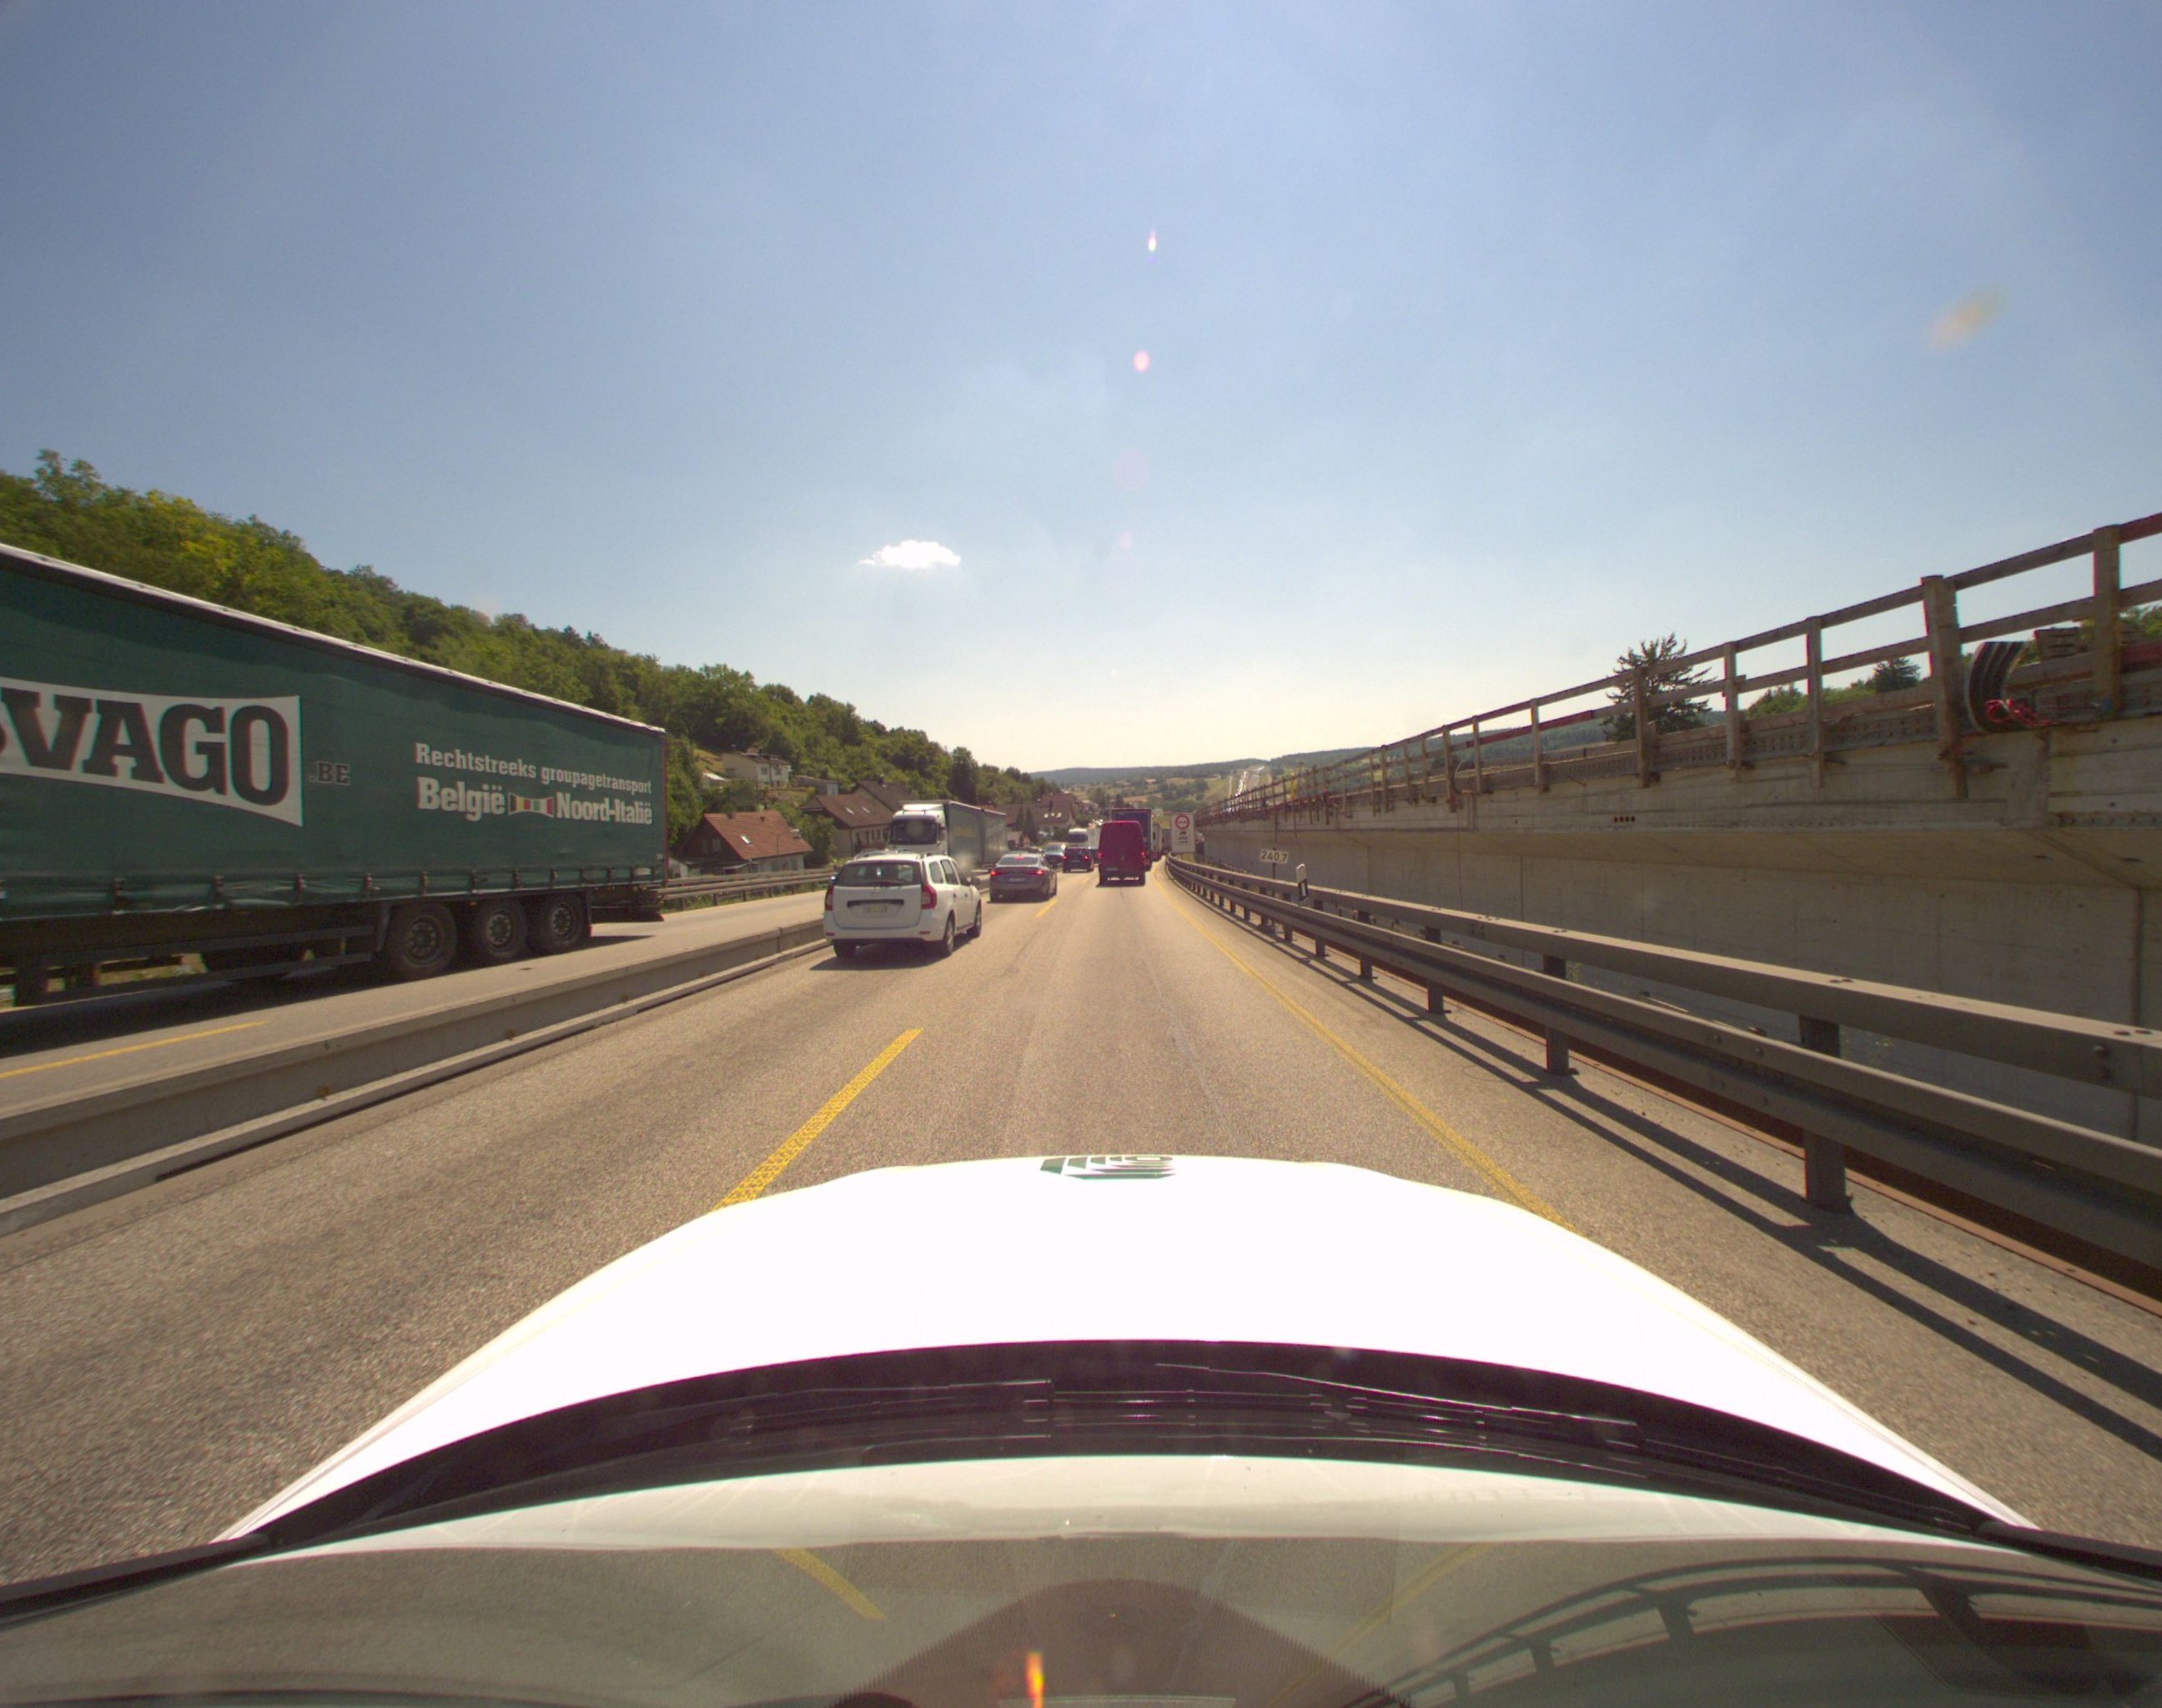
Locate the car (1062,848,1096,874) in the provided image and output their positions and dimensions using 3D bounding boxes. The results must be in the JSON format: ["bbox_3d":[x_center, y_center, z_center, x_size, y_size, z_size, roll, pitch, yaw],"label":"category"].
[{"bbox_3d":[-0.076,0.443,52.870,1.801,1.608,3.725,-1,-1,6],"label":"car"}]

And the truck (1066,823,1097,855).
[{"bbox_3d":[0.130,-2.071,114.627,2.962,4.162,10.566,-1,1,7],"label":"truck"}]

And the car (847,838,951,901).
[{"bbox_3d":[-5.325,0.429,24.449,1.949,1.681,4.117,-2,0,3],"label":"car"}]

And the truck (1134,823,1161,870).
[{"bbox_3d":[7.418,-0.719,89.879,2.772,4.816,9.700,-1,-1,6],"label":"truck"}]

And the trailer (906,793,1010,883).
[{"bbox_3d":[-7.079,-0.775,49.876,2.820,4.641,14.601,-1,-1,5],"label":"trailer"}]

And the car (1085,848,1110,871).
[{"bbox_3d":[1.365,0.436,67.435,1.721,1.838,4.006,-1,-1,6],"label":"car"}]

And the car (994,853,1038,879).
[{"bbox_3d":[-3.901,0.705,49.631,1.893,1.462,4.764,-1,-1,5],"label":"car"}]

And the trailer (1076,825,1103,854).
[{"bbox_3d":[1.320,-2.194,124.360,2.987,4.165,9.036,-1,0,7],"label":"trailer"}]

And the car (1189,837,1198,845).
[{"bbox_3d":[30.833,-3.487,223.236,2.117,2.014,4.013,-1,-1,12],"label":"car"}]

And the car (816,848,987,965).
[{"bbox_3d":[-2.672,0.721,13.125,1.646,1.483,4.267,-3,0,1],"label":"car"}]

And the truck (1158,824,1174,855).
[{"bbox_3d":[12.721,-2.136,121.416,1.981,4.381,4.012,-1,-1,11],"label":"truck"}]

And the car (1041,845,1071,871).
[{"bbox_3d":[-2.109,0.353,70.441,1.984,2.173,4.839,-1,-1,5],"label":"car"}]

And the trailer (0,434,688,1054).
[{"bbox_3d":[-9.779,-0.805,9.524,3.052,4.815,14.008,-1,-1,2],"label":"trailer"}]

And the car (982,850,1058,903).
[{"bbox_3d":[-1.814,0.649,25.498,1.787,1.485,4.053,-2,0,3],"label":"car"}]

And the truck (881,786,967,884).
[{"bbox_3d":[-7.838,-0.887,41.460,2.834,4.580,5.793,-1,-1,4],"label":"truck"}]

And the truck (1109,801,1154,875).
[{"bbox_3d":[3.728,-0.994,57.966,2.772,4.816,9.700,-1,-1,6],"label":"truck"}]

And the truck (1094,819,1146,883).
[{"bbox_3d":[1.749,-0.102,35.086,1.984,2.578,4.006,-1,-1,5],"label":"truck"}]
